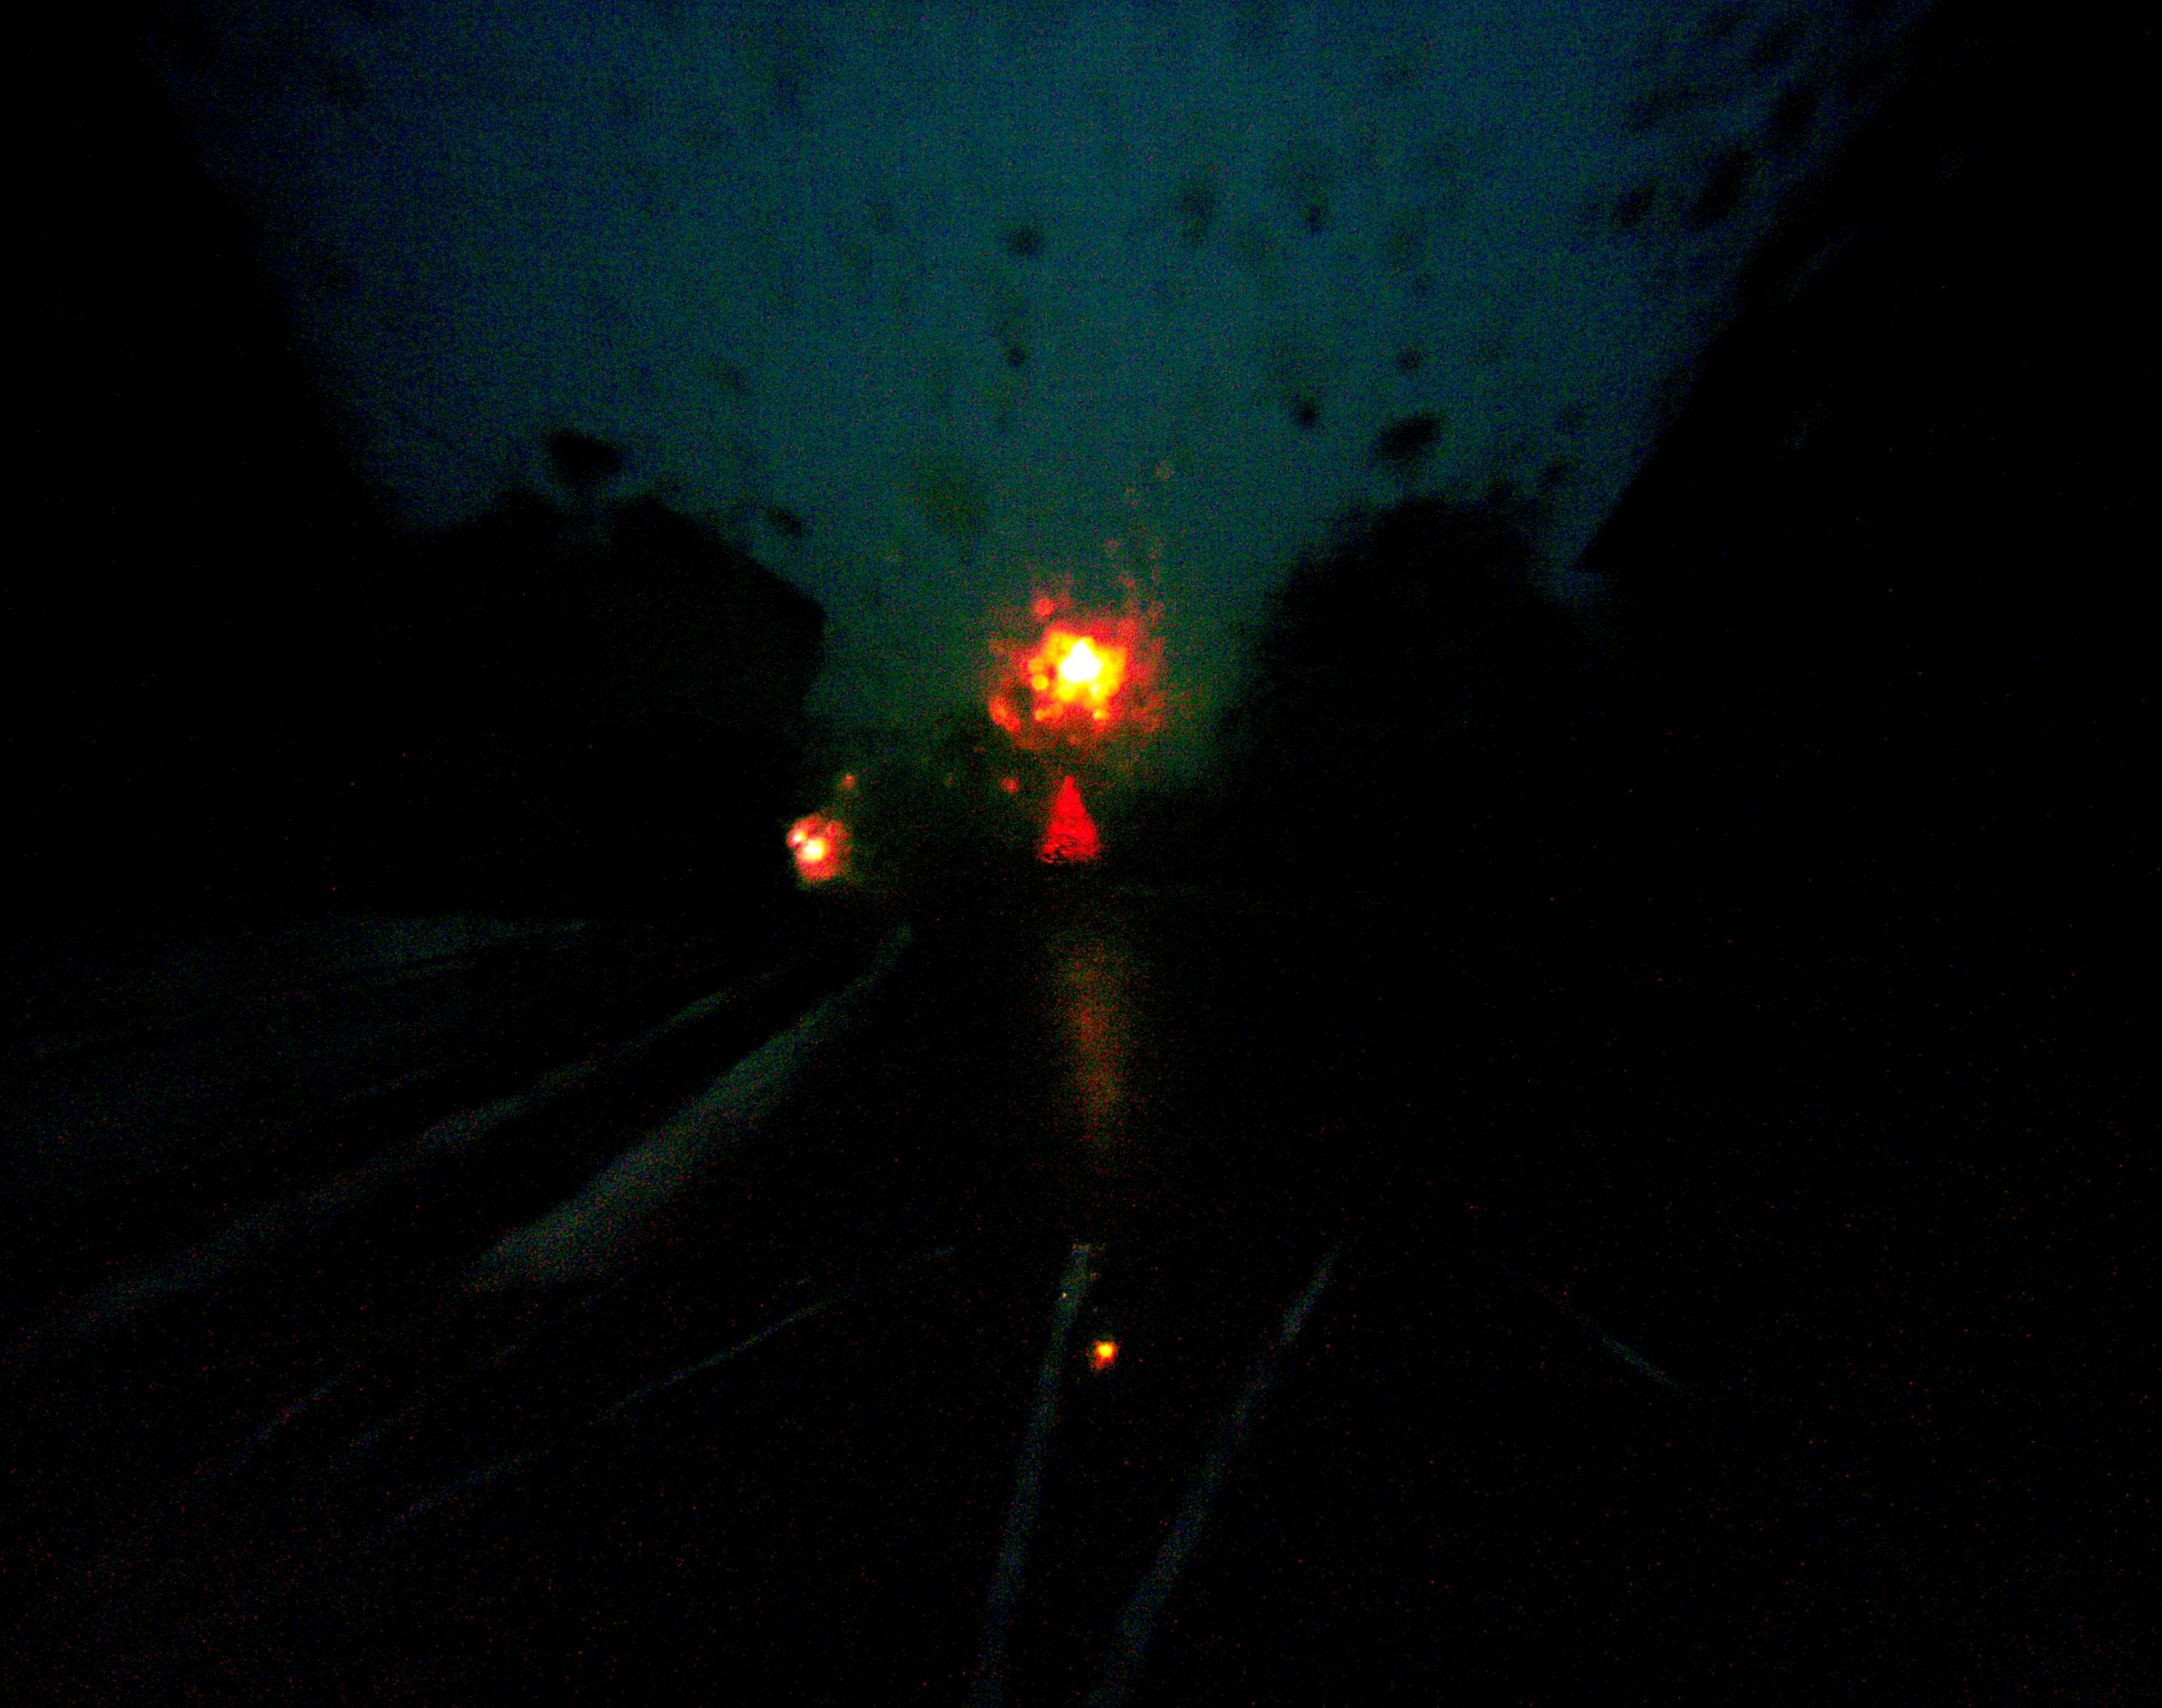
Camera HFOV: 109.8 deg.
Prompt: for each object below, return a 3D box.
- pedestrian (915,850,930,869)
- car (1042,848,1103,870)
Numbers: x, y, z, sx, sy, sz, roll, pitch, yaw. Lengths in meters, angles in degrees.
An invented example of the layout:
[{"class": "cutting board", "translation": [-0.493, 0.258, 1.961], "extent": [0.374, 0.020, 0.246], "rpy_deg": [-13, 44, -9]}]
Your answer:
[{"class": "pedestrian", "translation": [-11.301, 0.378, 54.192], "extent": [0.811, 1.322, 0.658], "rpy_deg": [-2, 2, -28]}, {"class": "car", "translation": [-0.571, 0.342, 51.812], "extent": [3.792, 1.365, 1.622], "rpy_deg": [-2, 2, -25]}]
